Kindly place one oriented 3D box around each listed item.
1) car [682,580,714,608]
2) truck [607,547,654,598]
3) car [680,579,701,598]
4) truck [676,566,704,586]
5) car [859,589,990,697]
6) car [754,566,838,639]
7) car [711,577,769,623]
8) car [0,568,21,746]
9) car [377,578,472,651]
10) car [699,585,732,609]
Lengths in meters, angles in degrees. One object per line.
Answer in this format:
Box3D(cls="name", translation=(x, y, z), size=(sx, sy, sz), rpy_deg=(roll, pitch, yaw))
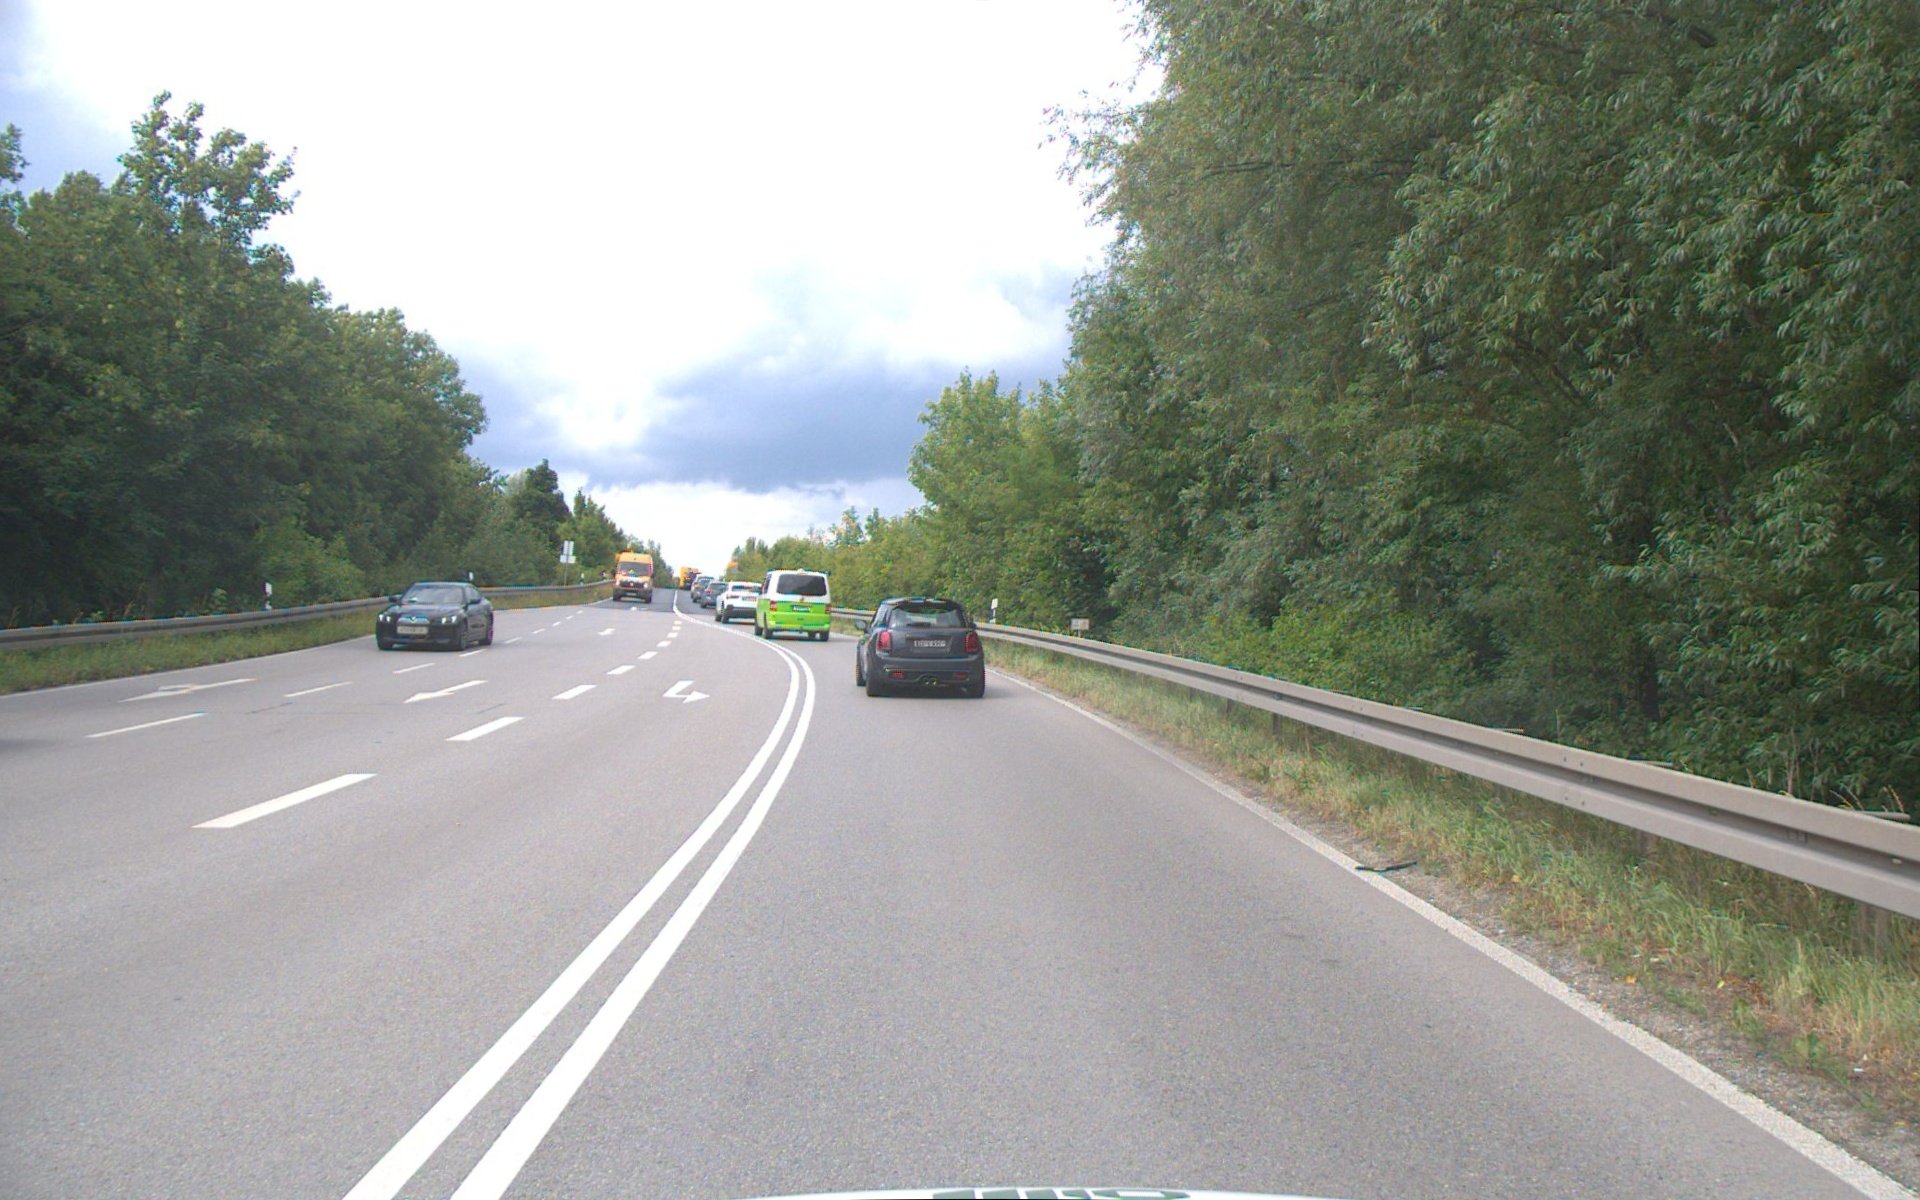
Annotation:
Box3D(cls="car", translation=(-16.088, -0.363, 101.706), size=(1.844, 1.646, 3.993), rpy_deg=(1, 0, -7))
Box3D(cls="truck", translation=(-17.900, -1.492, 90.065), size=(2.273, 2.646, 6.011), rpy_deg=(1, 1, -9))
Box3D(cls="car", translation=(-26.134, -1.105, 160.196), size=(1.957, 1.829, 3.991), rpy_deg=(1, 0, -10))
Box3D(cls="truck", translation=(-34.625, -3.095, 212.183), size=(2.854, 2.413, 10.439), rpy_deg=(1, 1, -6))
Box3D(cls="car", translation=(-0.618, 0.592, 25.254), size=(1.698, 1.481, 3.996), rpy_deg=(1, 0, -5))
Box3D(cls="car", translation=(-4.850, 0.042, 48.382), size=(1.987, 2.048, 3.988), rpy_deg=(1, 1, -13))
Box3D(cls="car", translation=(-8.417, -0.035, 62.999), size=(1.952, 1.646, 4.143), rpy_deg=(1, 1, -11))
Box3D(cls="car", translation=(-9.851, 0.545, 13.483), size=(1.820, 1.672, 4.735), rpy_deg=(0, 0, -2))
Box3D(cls="car", translation=(-11.996, 0.277, 37.280), size=(1.688, 1.524, 4.532), rpy_deg=(0, 1, -14))
Box3D(cls="car", translation=(-12.902, -0.180, 87.332), size=(1.662, 1.243, 3.993), rpy_deg=(0, 1, -8))
